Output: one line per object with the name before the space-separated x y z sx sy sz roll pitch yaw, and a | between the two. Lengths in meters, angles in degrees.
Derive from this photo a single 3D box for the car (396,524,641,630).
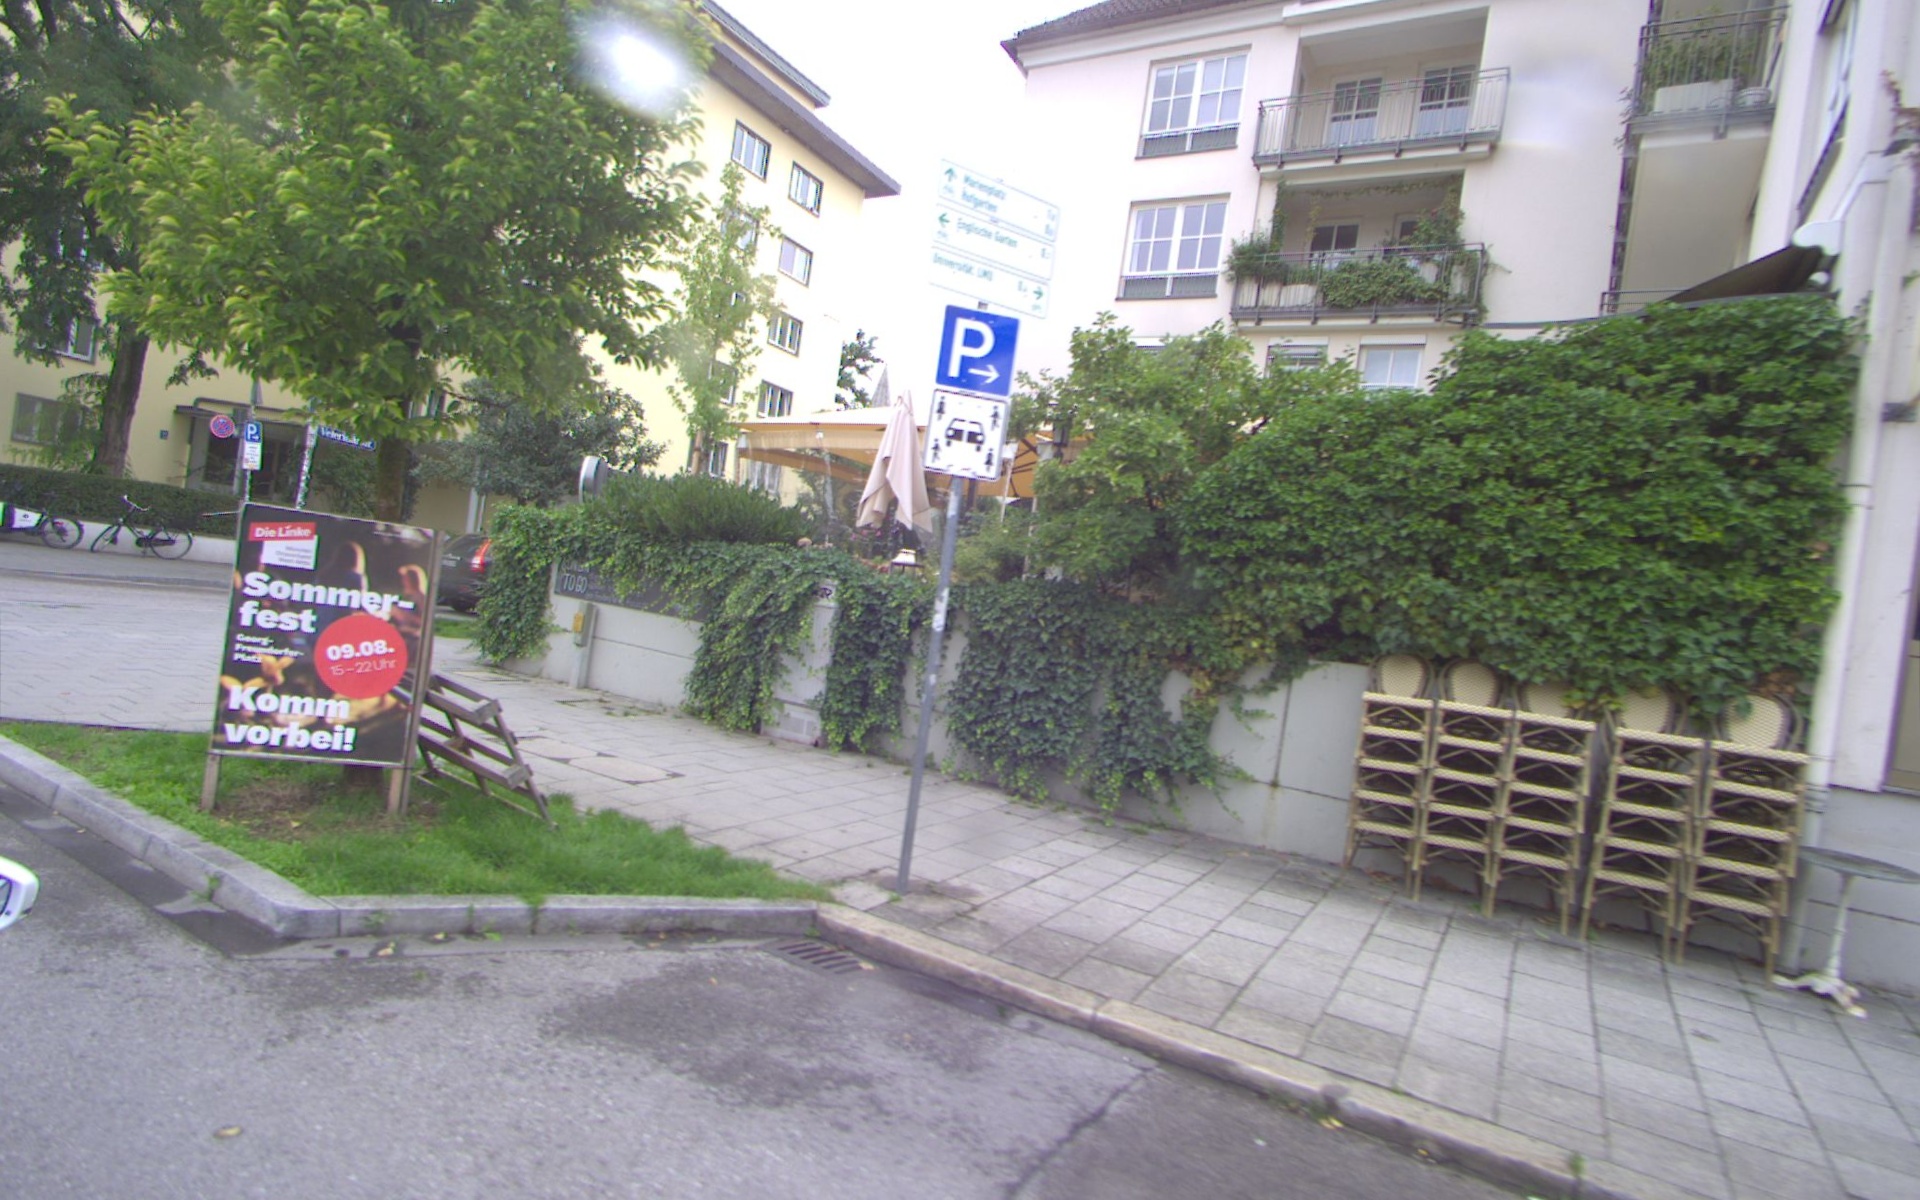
car | -9.286 -0.410 21.555 1.968 1.715 4.372 8 1 30

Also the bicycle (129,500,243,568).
bicycle | -16.553 -1.396 21.548 0.601 1.163 1.735 8 0 37

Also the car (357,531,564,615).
car | -11.498 -0.579 23.398 1.580 1.453 3.979 7 0 33

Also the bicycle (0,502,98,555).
bicycle | -18.226 -1.443 19.512 2.200 0.788 0.604 9 0 -38
